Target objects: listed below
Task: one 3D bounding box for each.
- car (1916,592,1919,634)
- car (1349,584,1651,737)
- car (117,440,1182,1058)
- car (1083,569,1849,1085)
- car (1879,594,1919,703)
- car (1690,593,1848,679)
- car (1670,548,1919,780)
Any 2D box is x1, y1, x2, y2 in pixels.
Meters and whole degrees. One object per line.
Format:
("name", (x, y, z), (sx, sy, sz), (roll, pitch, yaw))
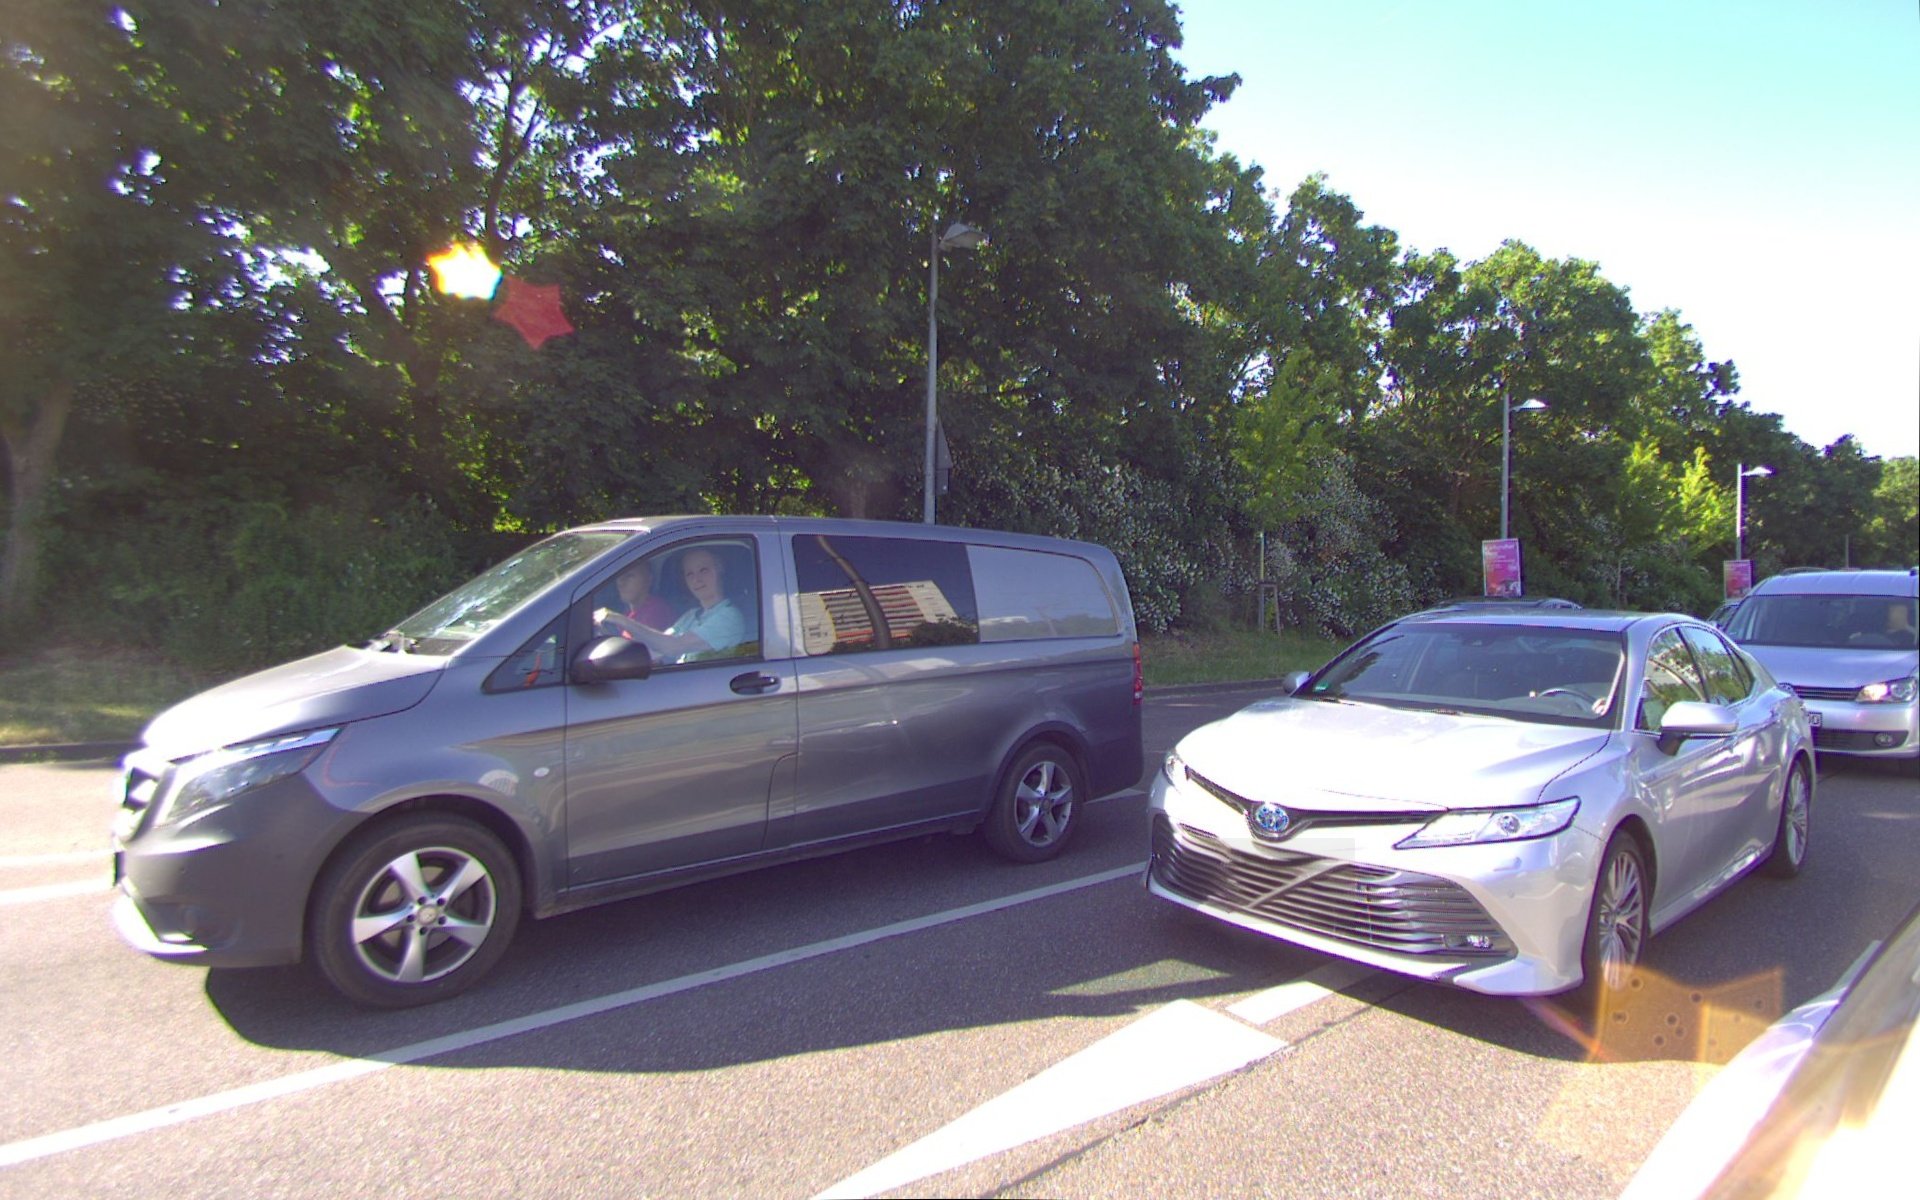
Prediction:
("car", (36.601, 0.463, 37.192), (3.894, 1.512, 1.713), (0, 1, -40))
("car", (6.538, 0.576, 12.074), (4.151, 1.527, 1.771), (-1, 0, -40))
("car", (-1.159, 0.424, 5.354), (5.011, 1.875, 1.809), (0, 2, -39))
("car", (2.868, 0.663, 5.153), (4.599, 1.512, 1.808), (0, 0, -40))
("car", (14.845, 0.677, 14.792), (4.126, 1.472, 1.715), (0, 1, -43))
("car", (16.081, 0.639, 20.049), (4.064, 1.536, 1.725), (0, 0, -40))
("car", (8.901, 0.475, 10.077), (4.504, 1.844, 1.809), (-1, 1, -39))
